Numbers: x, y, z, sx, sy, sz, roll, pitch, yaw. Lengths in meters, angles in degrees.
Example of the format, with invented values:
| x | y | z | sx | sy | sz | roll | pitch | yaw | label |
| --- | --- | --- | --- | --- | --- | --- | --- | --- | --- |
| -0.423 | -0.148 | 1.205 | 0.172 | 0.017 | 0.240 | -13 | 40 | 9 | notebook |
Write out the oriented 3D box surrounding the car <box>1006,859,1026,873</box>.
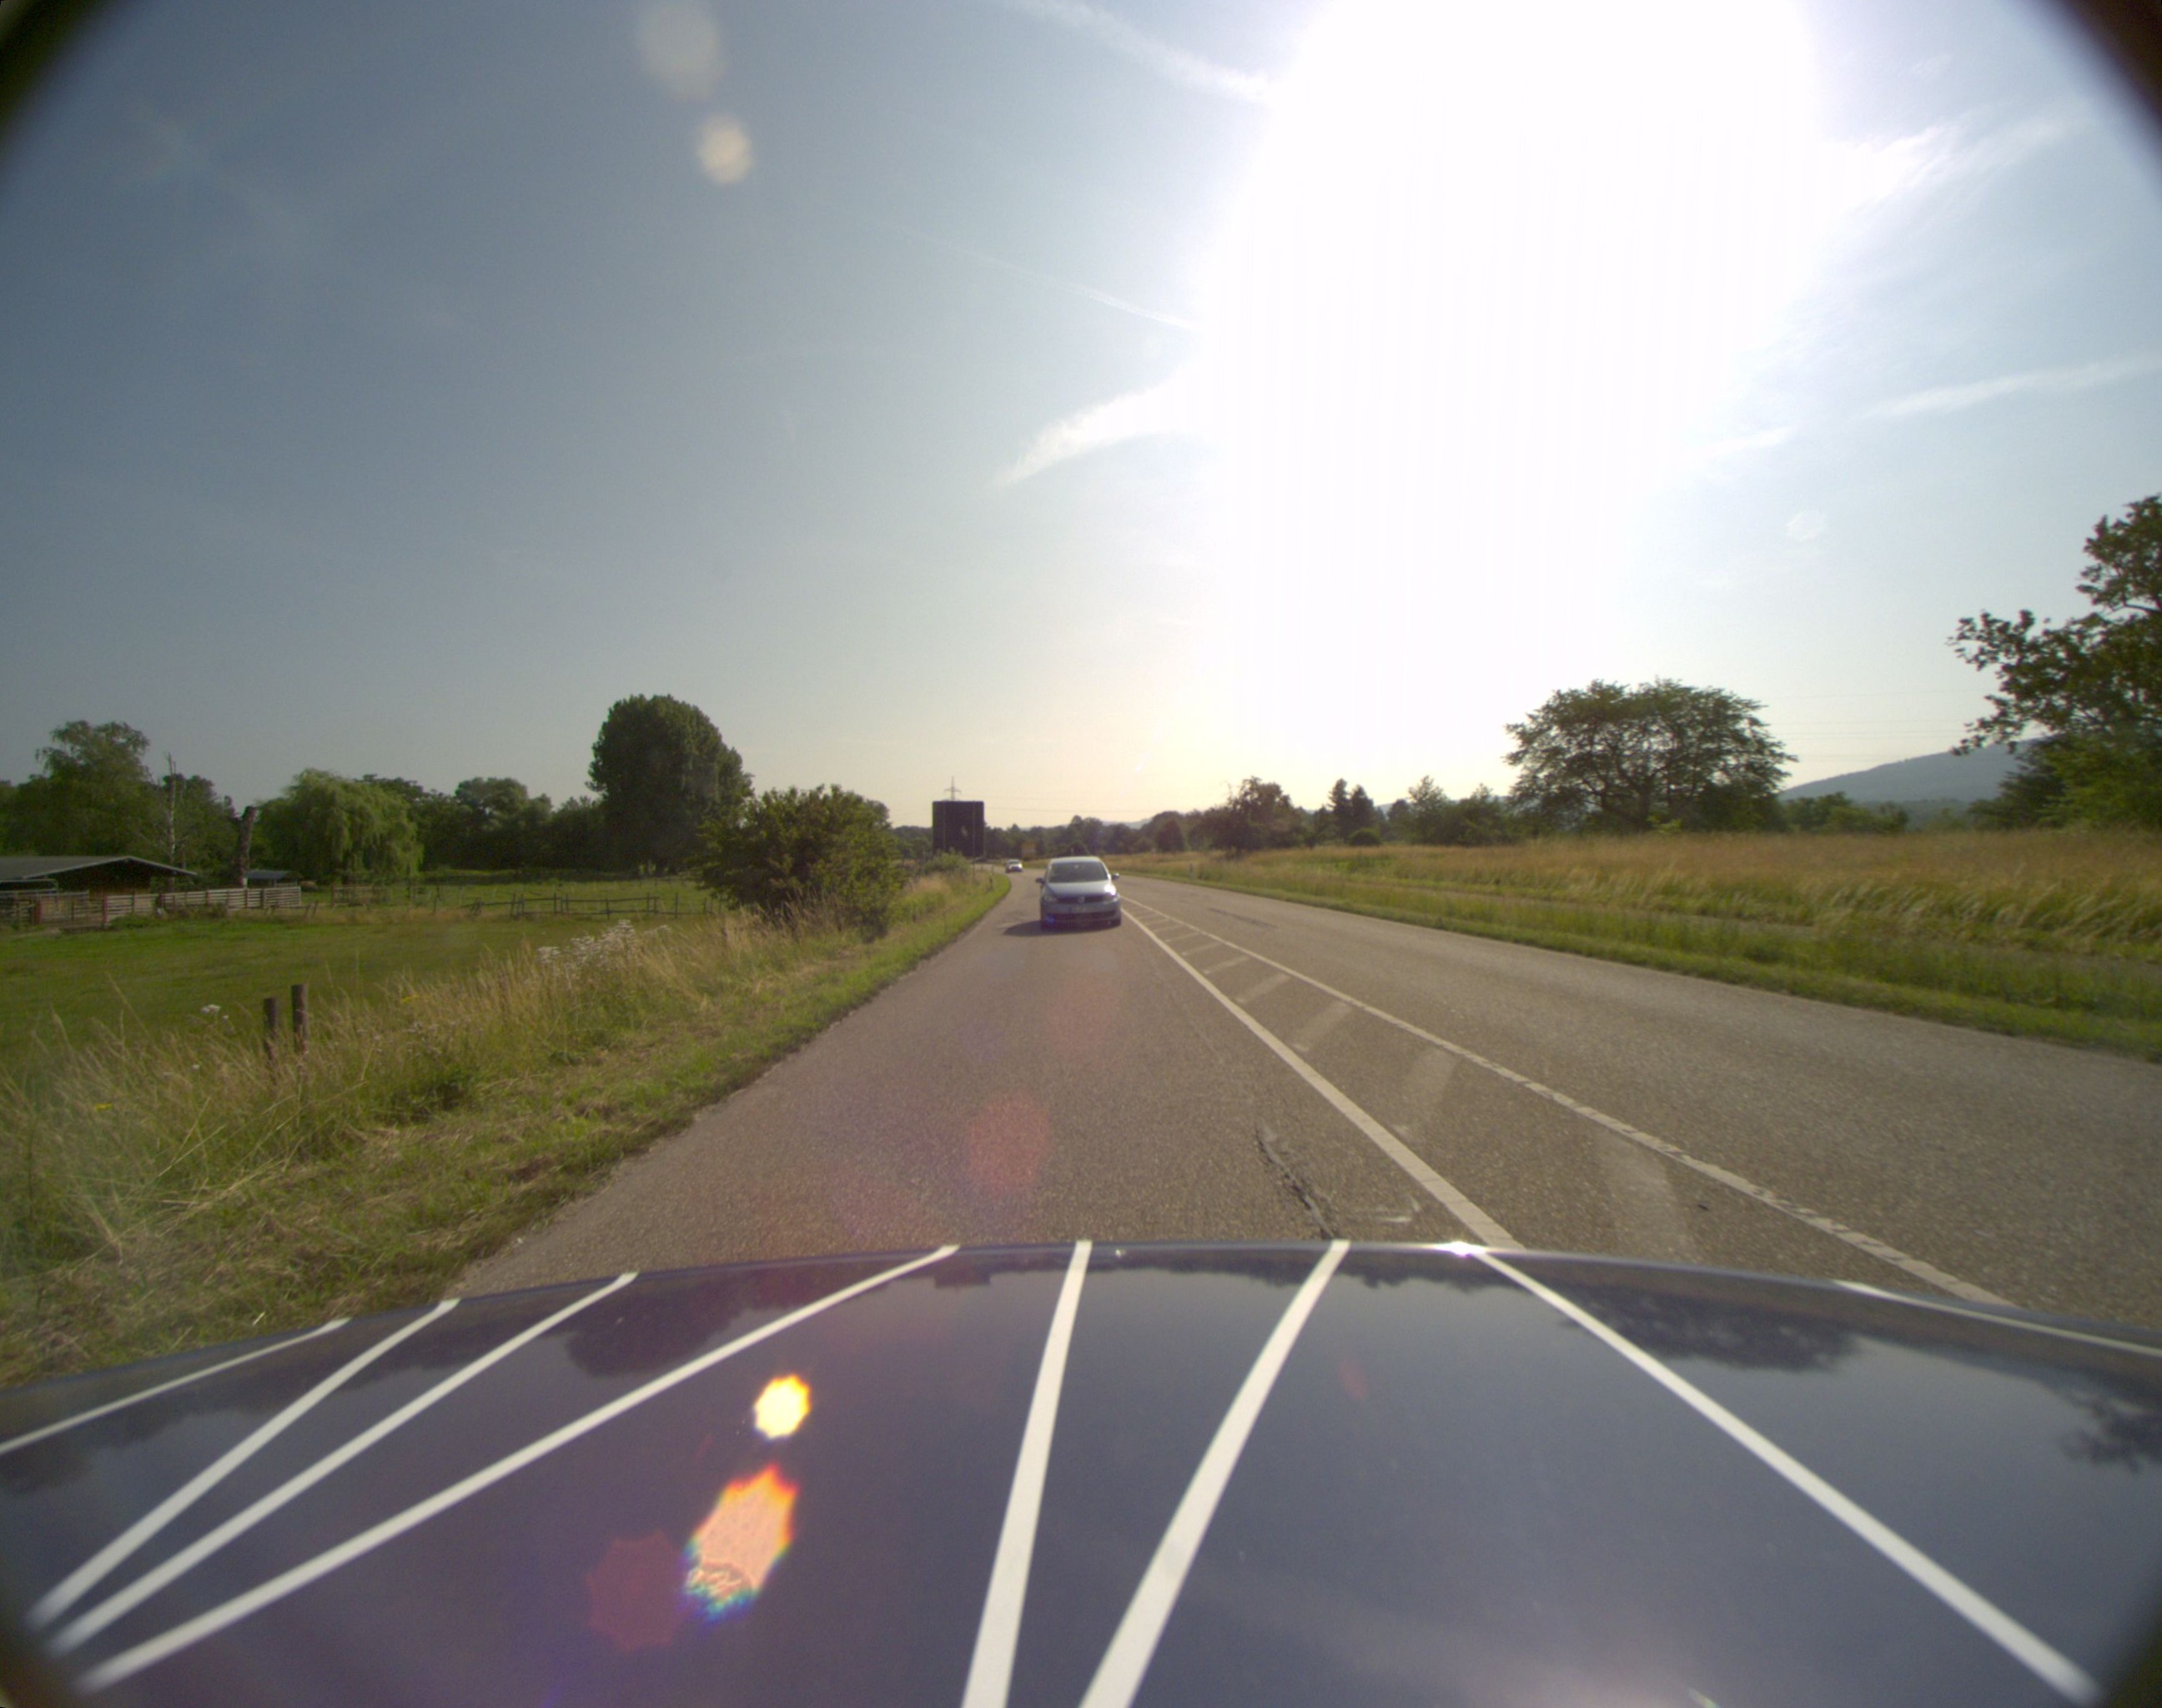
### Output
| x | y | z | sx | sy | sz | roll | pitch | yaw | label |
| --- | --- | --- | --- | --- | --- | --- | --- | --- | --- |
| -7.869 | 1.456 | 91.806 | 2.000 | 1.570 | 3.905 | -2 | 0 | -10 | car |

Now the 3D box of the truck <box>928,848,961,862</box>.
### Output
| x | y | z | sx | sy | sz | roll | pitch | yaw | label |
| --- | --- | --- | --- | --- | --- | --- | --- | --- | --- |
| -32.375 | 0.176 | 180.424 | 7.363 | 3.028 | 2.583 | -2 | 1 | -5 | truck |

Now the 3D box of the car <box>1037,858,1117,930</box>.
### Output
| x | y | z | sx | sy | sz | roll | pitch | yaw | label |
| --- | --- | --- | --- | --- | --- | --- | --- | --- | --- |
| 0.009 | 0.913 | 19.137 | 1.717 | 1.495 | 4.094 | -3 | 0 | 3 | car |
